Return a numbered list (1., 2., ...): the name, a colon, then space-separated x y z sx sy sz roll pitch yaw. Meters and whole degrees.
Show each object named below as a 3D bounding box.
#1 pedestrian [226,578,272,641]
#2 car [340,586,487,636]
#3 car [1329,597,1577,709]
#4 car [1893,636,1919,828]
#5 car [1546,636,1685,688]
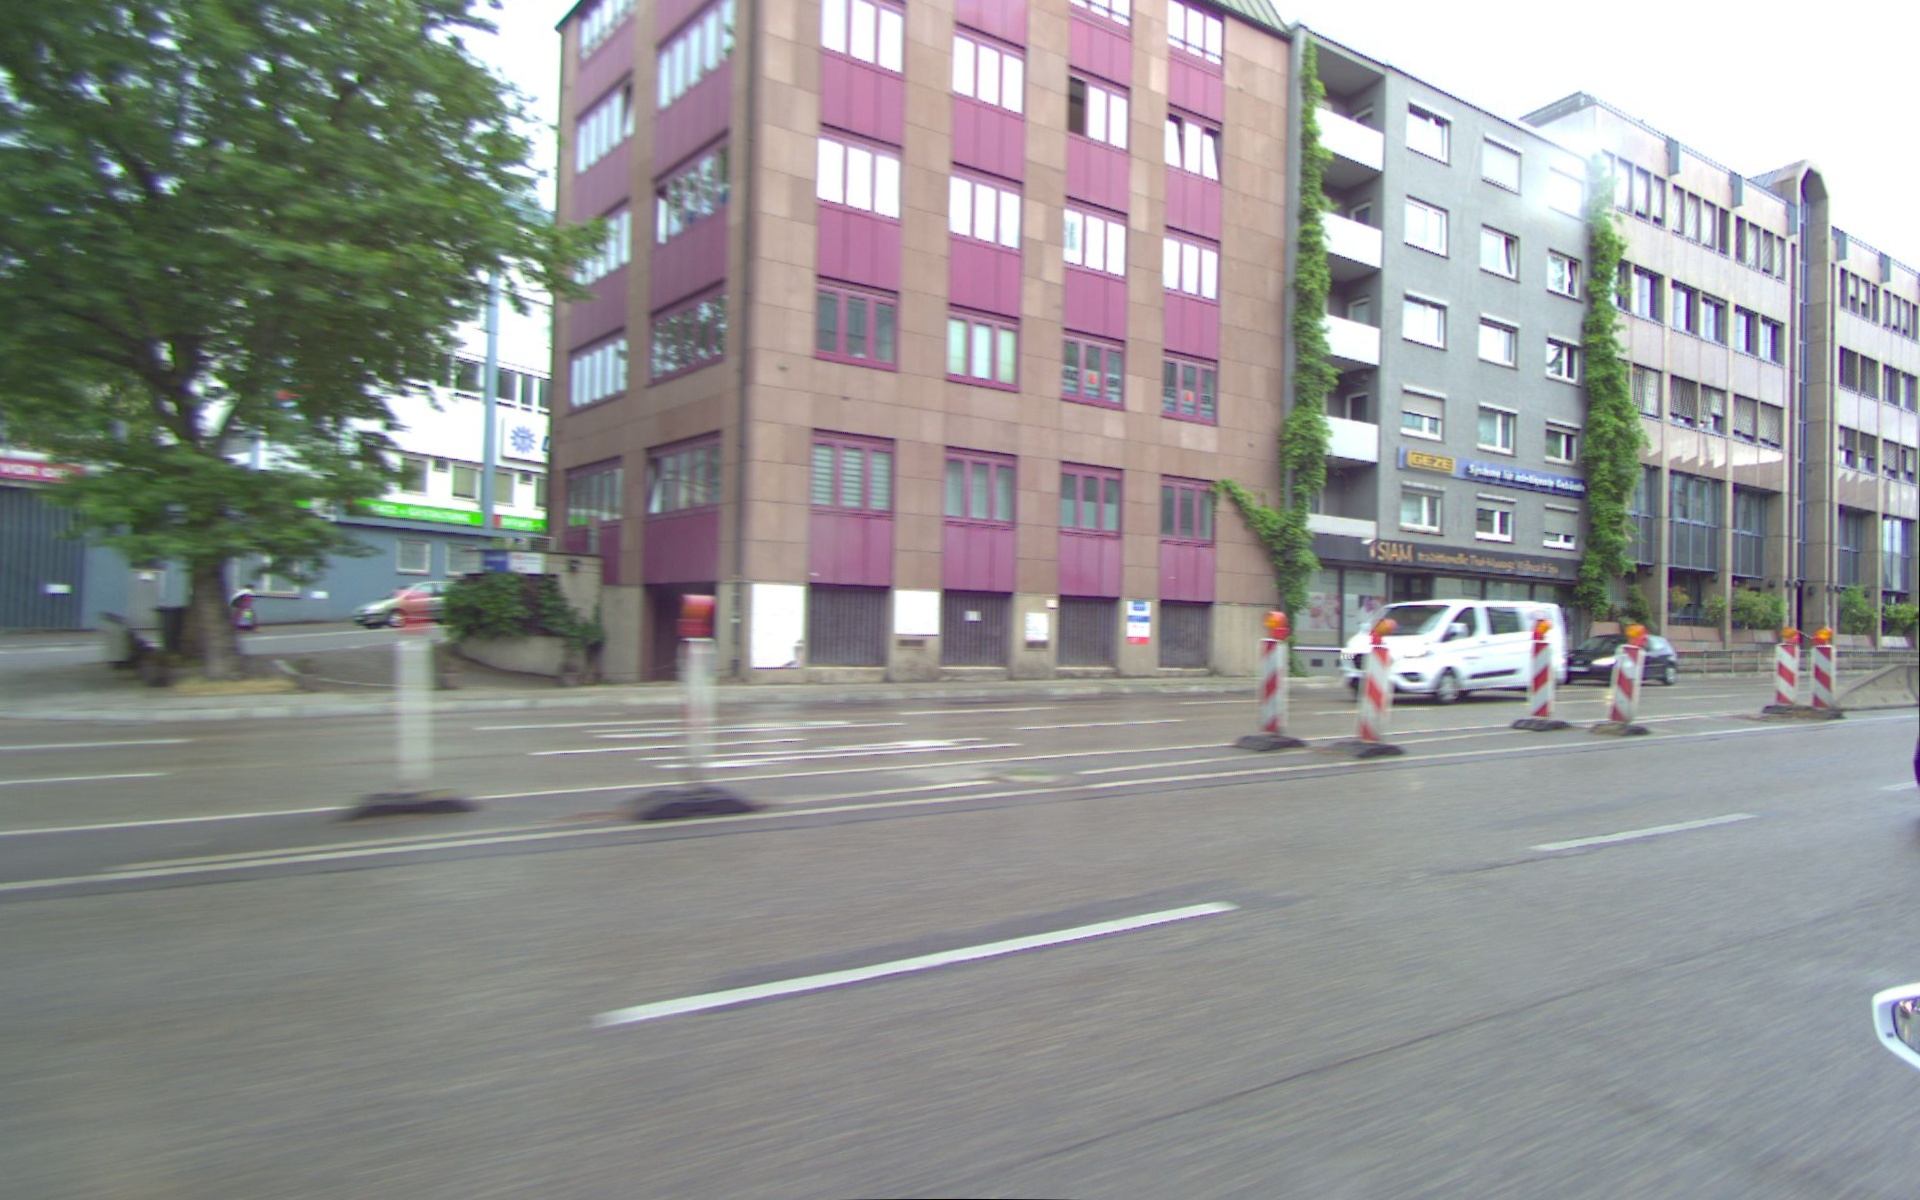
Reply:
1. pedestrian: -23.530 0.342 33.249 0.827 2.040 0.979 -1 -2 33
2. car: -19.230 0.365 35.518 1.808 1.483 4.163 -2 2 34
3. car: 10.037 1.046 20.322 5.228 2.016 1.984 2 -2 -31
4. car: 9.582 1.079 8.177 4.562 1.445 1.781 2 0 -32
5. car: 18.959 1.764 29.036 3.971 1.417 1.692 1 -2 -29
